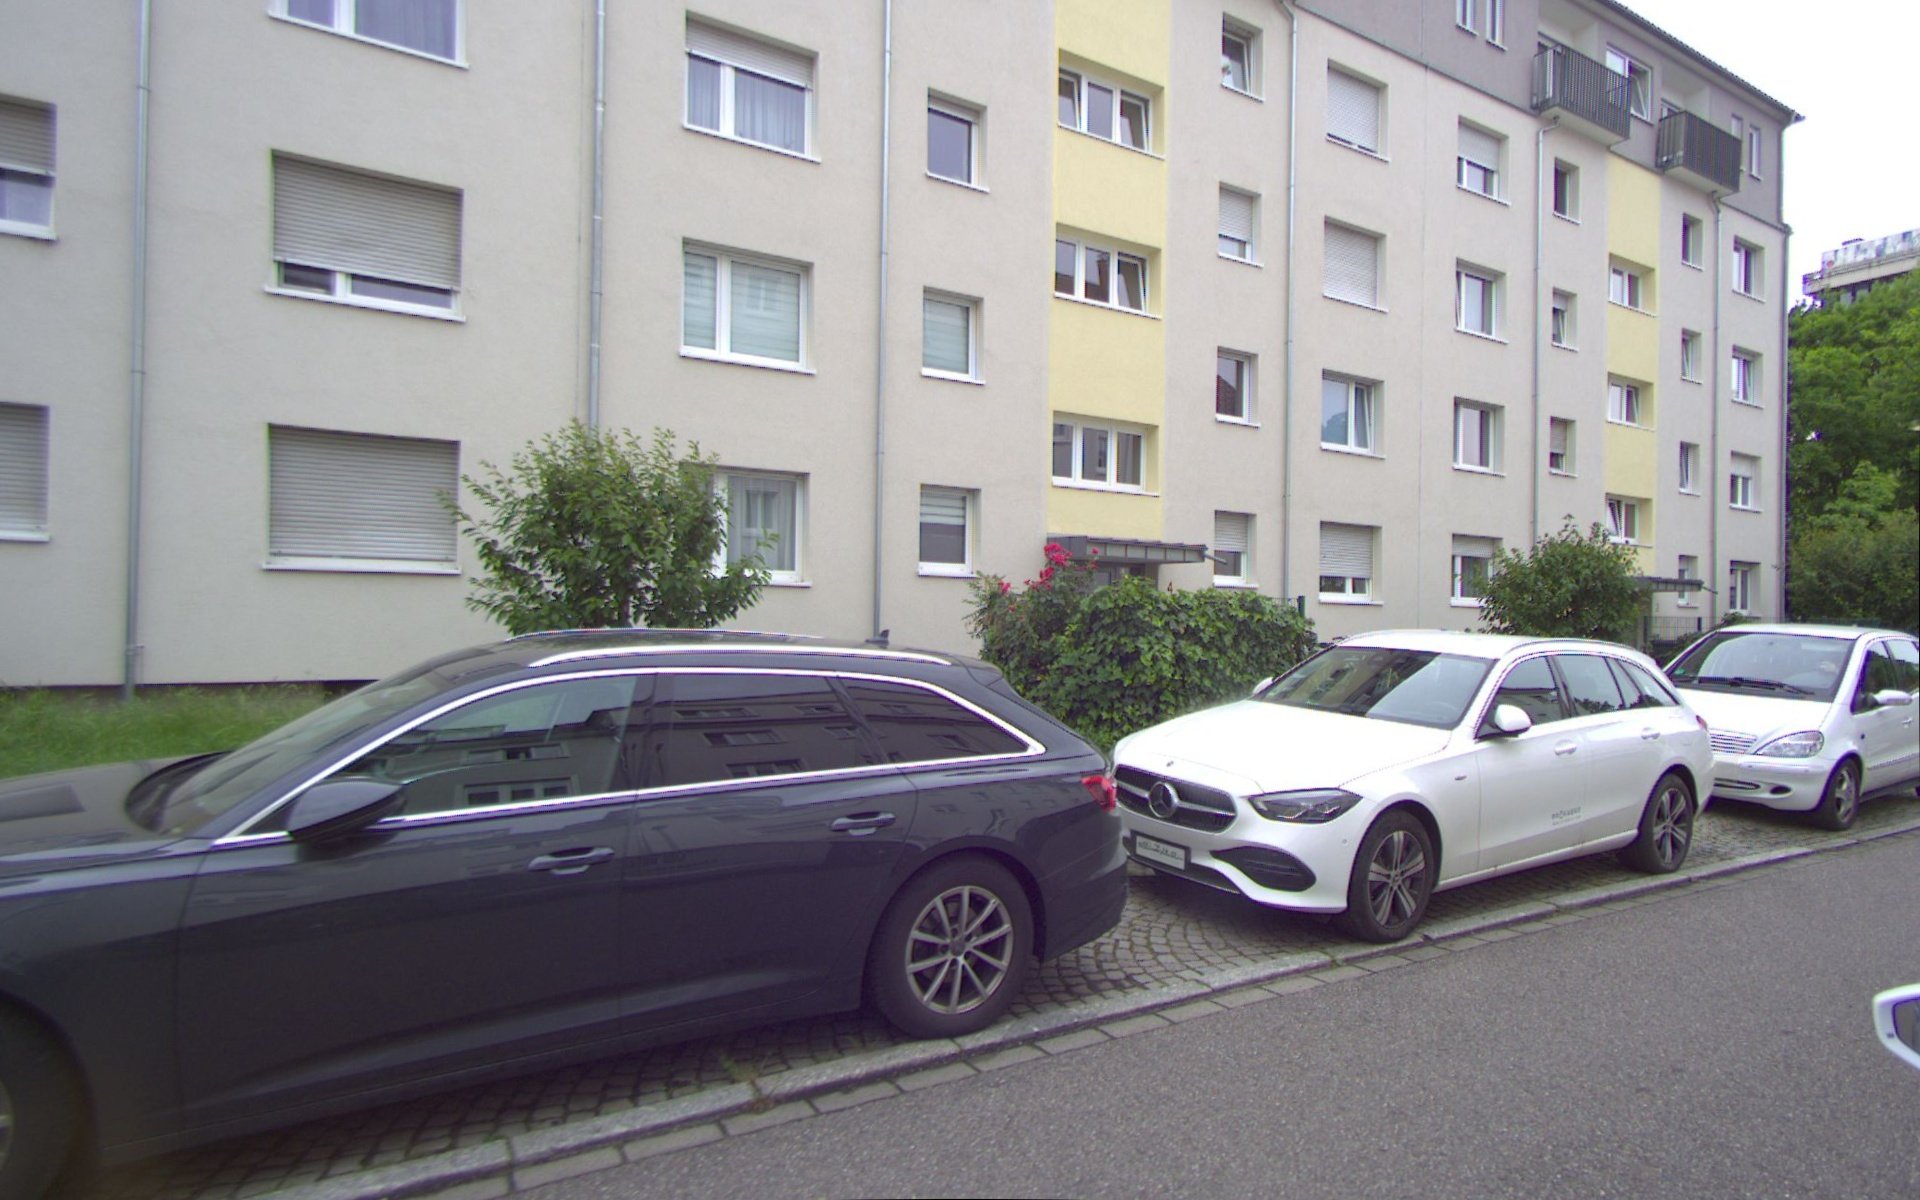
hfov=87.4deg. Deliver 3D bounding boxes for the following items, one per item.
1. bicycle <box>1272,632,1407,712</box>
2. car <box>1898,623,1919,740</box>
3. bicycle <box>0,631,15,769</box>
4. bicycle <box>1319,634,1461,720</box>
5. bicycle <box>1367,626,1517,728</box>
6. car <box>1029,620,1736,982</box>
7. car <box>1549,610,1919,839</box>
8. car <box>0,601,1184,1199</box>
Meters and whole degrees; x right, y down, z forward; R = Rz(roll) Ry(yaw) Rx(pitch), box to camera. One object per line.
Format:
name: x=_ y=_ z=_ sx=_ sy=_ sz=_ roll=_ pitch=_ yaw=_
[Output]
bicycle: x=5.629 y=1.026 z=14.865 sx=2.066 sy=1.092 sz=0.728 roll=1 pitch=0 yaw=-31
car: x=14.969 y=1.153 z=13.848 sx=3.955 sy=1.561 sz=1.983 roll=1 pitch=0 yaw=-31
bicycle: x=-8.590 y=0.778 z=7.325 sx=2.327 sy=1.095 sz=0.784 roll=1 pitch=-1 yaw=-30
bicycle: x=6.006 y=1.037 z=13.983 sx=2.066 sy=1.092 sz=0.728 roll=1 pitch=0 yaw=-31
bicycle: x=6.316 y=0.970 z=13.136 sx=2.066 sy=1.227 sz=0.728 roll=1 pitch=0 yaw=-31
car: x=2.813 y=0.941 z=6.377 sx=4.471 sy=1.472 sz=1.884 roll=1 pitch=2 yaw=-32
car: x=7.768 y=0.986 z=9.472 sx=4.469 sy=1.620 sz=1.885 roll=1 pitch=2 yaw=-31
car: x=-1.541 y=0.818 z=3.852 sx=4.611 sy=1.472 sz=1.886 roll=1 pitch=2 yaw=-30
